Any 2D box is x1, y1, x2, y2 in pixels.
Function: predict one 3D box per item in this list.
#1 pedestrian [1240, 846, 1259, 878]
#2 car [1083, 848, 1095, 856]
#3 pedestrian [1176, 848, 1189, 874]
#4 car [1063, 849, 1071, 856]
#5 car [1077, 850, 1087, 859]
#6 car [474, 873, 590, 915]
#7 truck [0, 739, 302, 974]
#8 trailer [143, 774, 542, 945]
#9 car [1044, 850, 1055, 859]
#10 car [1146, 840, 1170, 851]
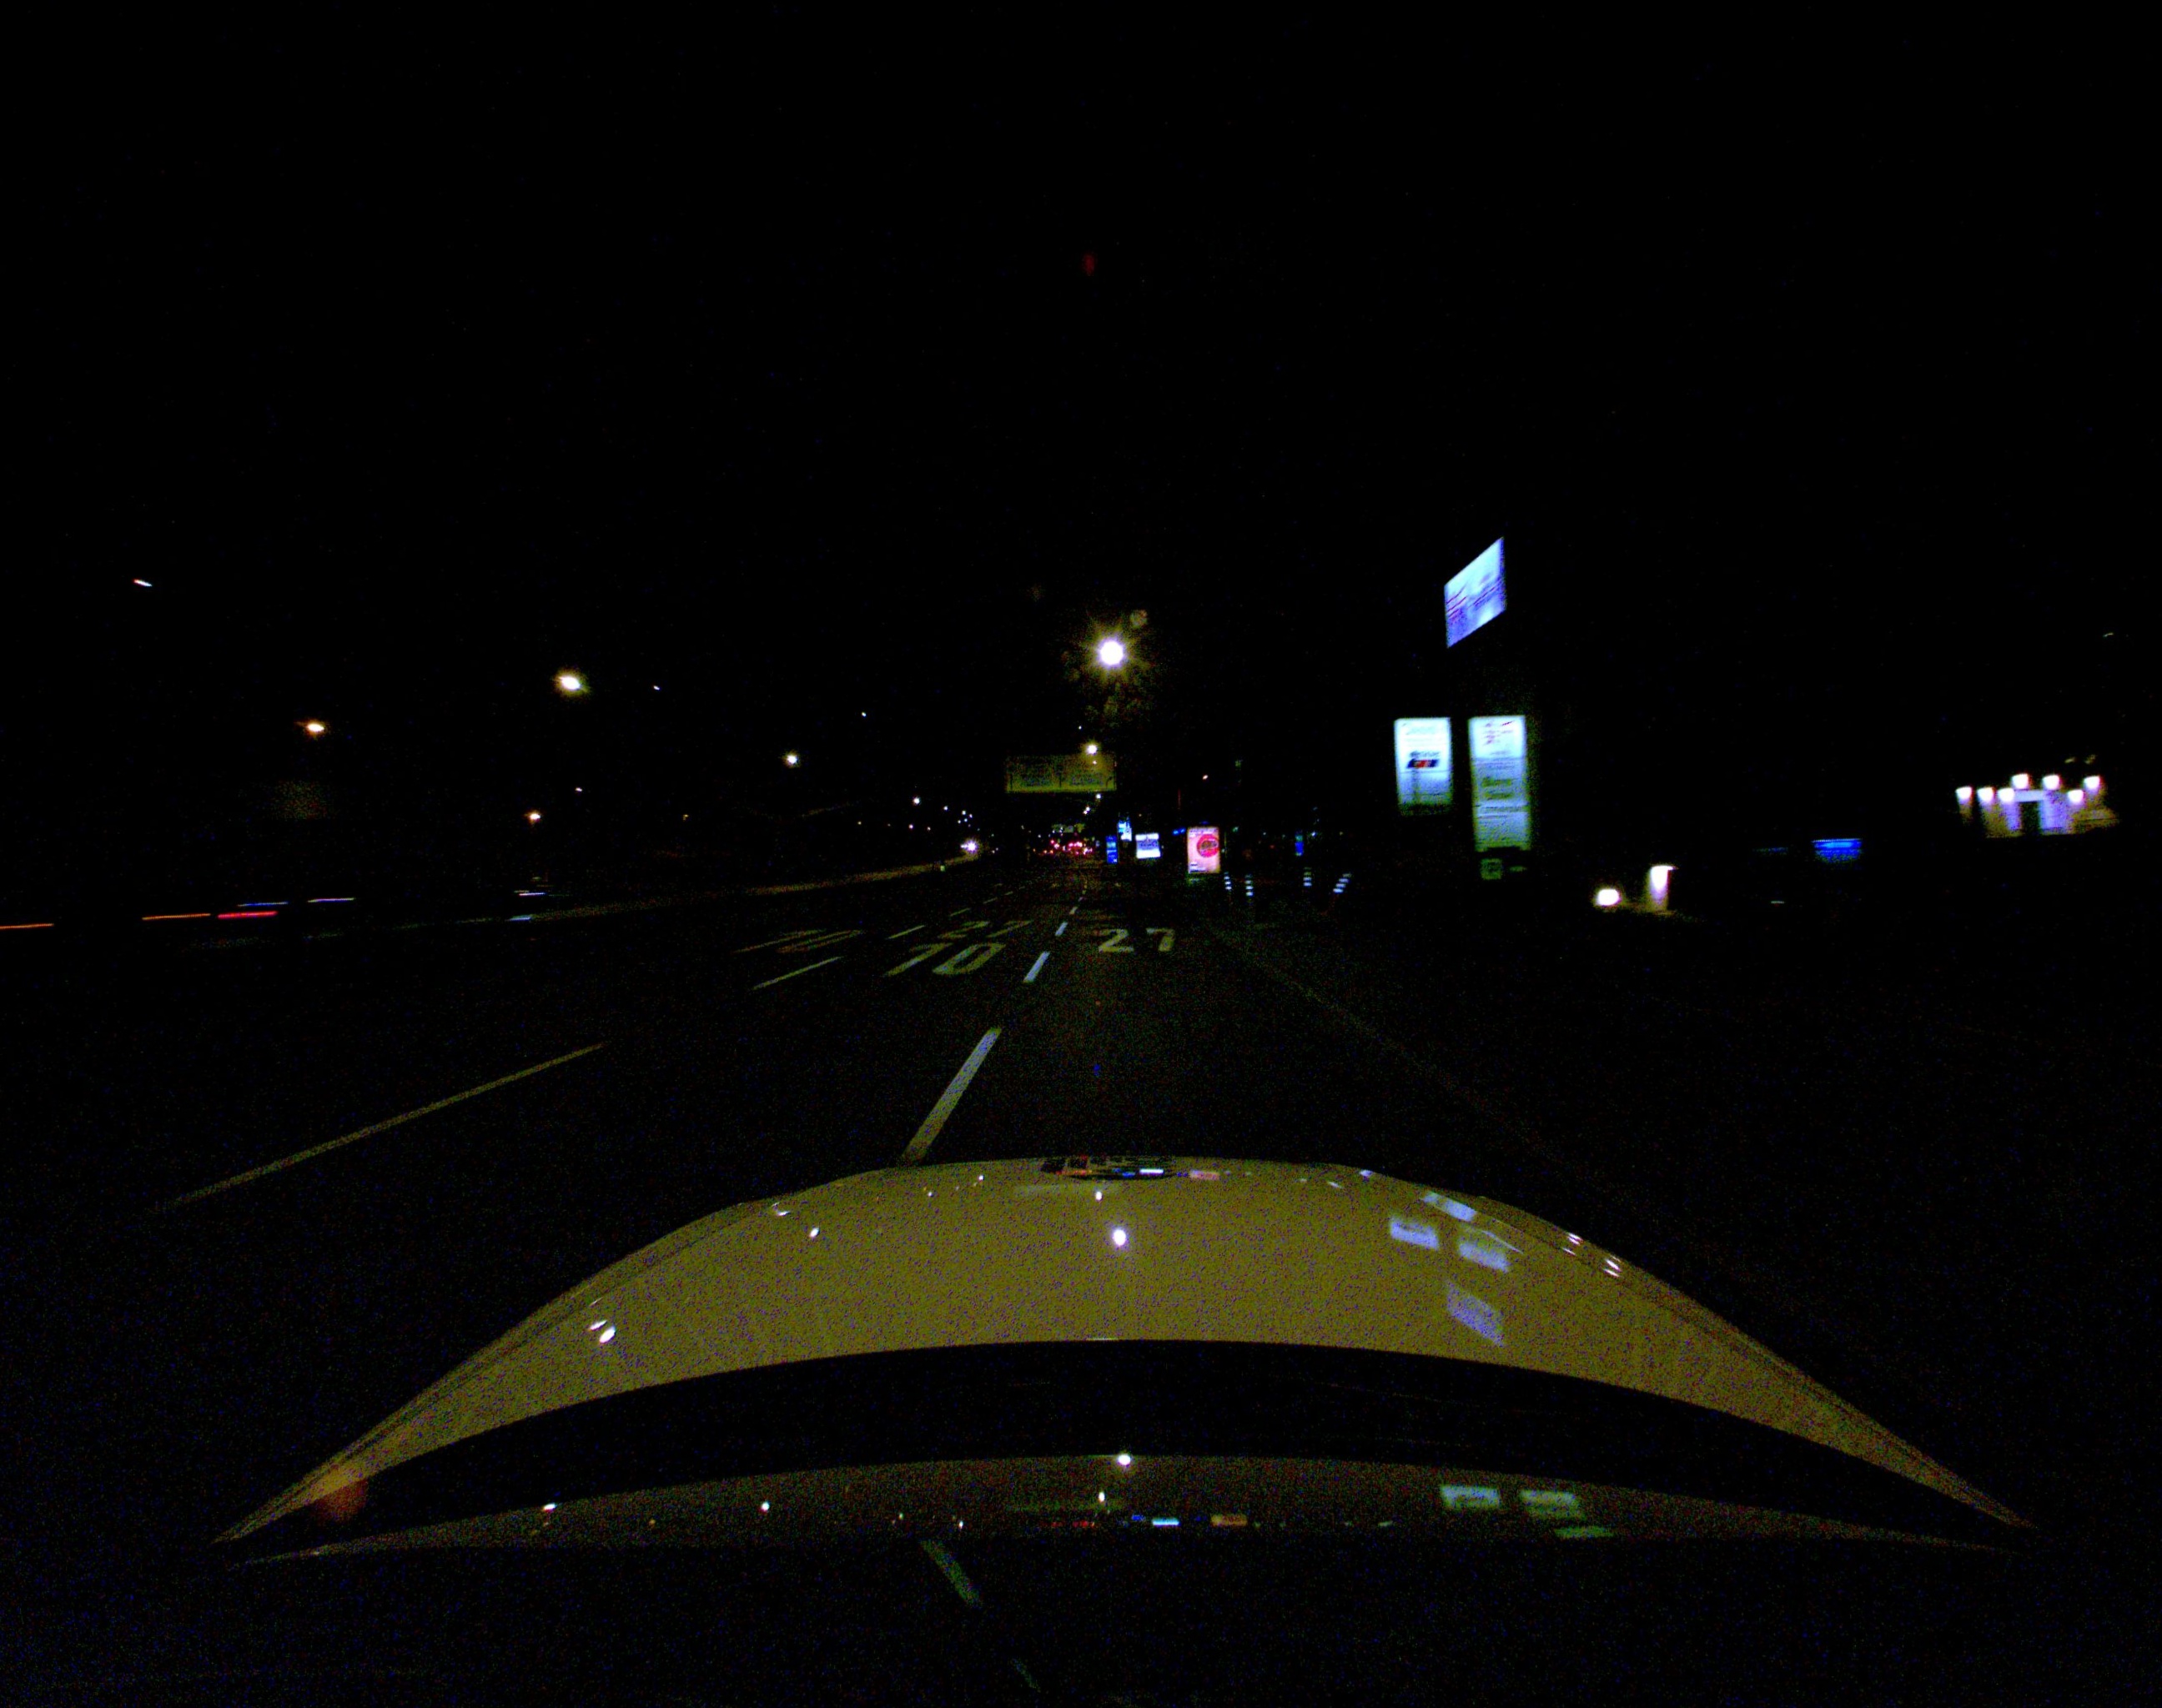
[{"bbox_3d":[9.190,0.414,44.426,0.850,1.707,0.957,1,-1,0],"label":"pedestrian"},{"bbox_3d":[1.975,-0.484,198.188,2.642,2.014,5.300,0,-1,1],"label":"car"},{"bbox_3d":[7.858,0.536,63.081,0.800,1.913,0.795,-4,-1,8],"label":"pedestrian"},{"bbox_3d":[-3.267,-0.301,193.140,1.776,1.711,4.001,0,-1,1],"label":"car"},{"bbox_3d":[0.177,0.053,157.299,1.961,1.711,4.001,0,-1,1],"label":"car"},{"bbox_3d":[-23.163,1.646,34.572,1.980,1.481,4.203,-3,0,0],"label":"car"},{"bbox_3d":[-20.059,0.044,13.811,3.670,3.955,10.417,0,-1,-1],"label":"truck"},{"bbox_3d":[-20.103,0.174,23.316,3.684,3.990,8.393,0,-1,0],"label":"trailer"},{"bbox_3d":[-6.359,0.111,163.130,1.961,1.711,4.001,0,-1,1],"label":"car"},{"bbox_3d":[13.517,-1.501,143.306,4.106,1.522,1.822,-3,-2,0],"label":"car"}]
